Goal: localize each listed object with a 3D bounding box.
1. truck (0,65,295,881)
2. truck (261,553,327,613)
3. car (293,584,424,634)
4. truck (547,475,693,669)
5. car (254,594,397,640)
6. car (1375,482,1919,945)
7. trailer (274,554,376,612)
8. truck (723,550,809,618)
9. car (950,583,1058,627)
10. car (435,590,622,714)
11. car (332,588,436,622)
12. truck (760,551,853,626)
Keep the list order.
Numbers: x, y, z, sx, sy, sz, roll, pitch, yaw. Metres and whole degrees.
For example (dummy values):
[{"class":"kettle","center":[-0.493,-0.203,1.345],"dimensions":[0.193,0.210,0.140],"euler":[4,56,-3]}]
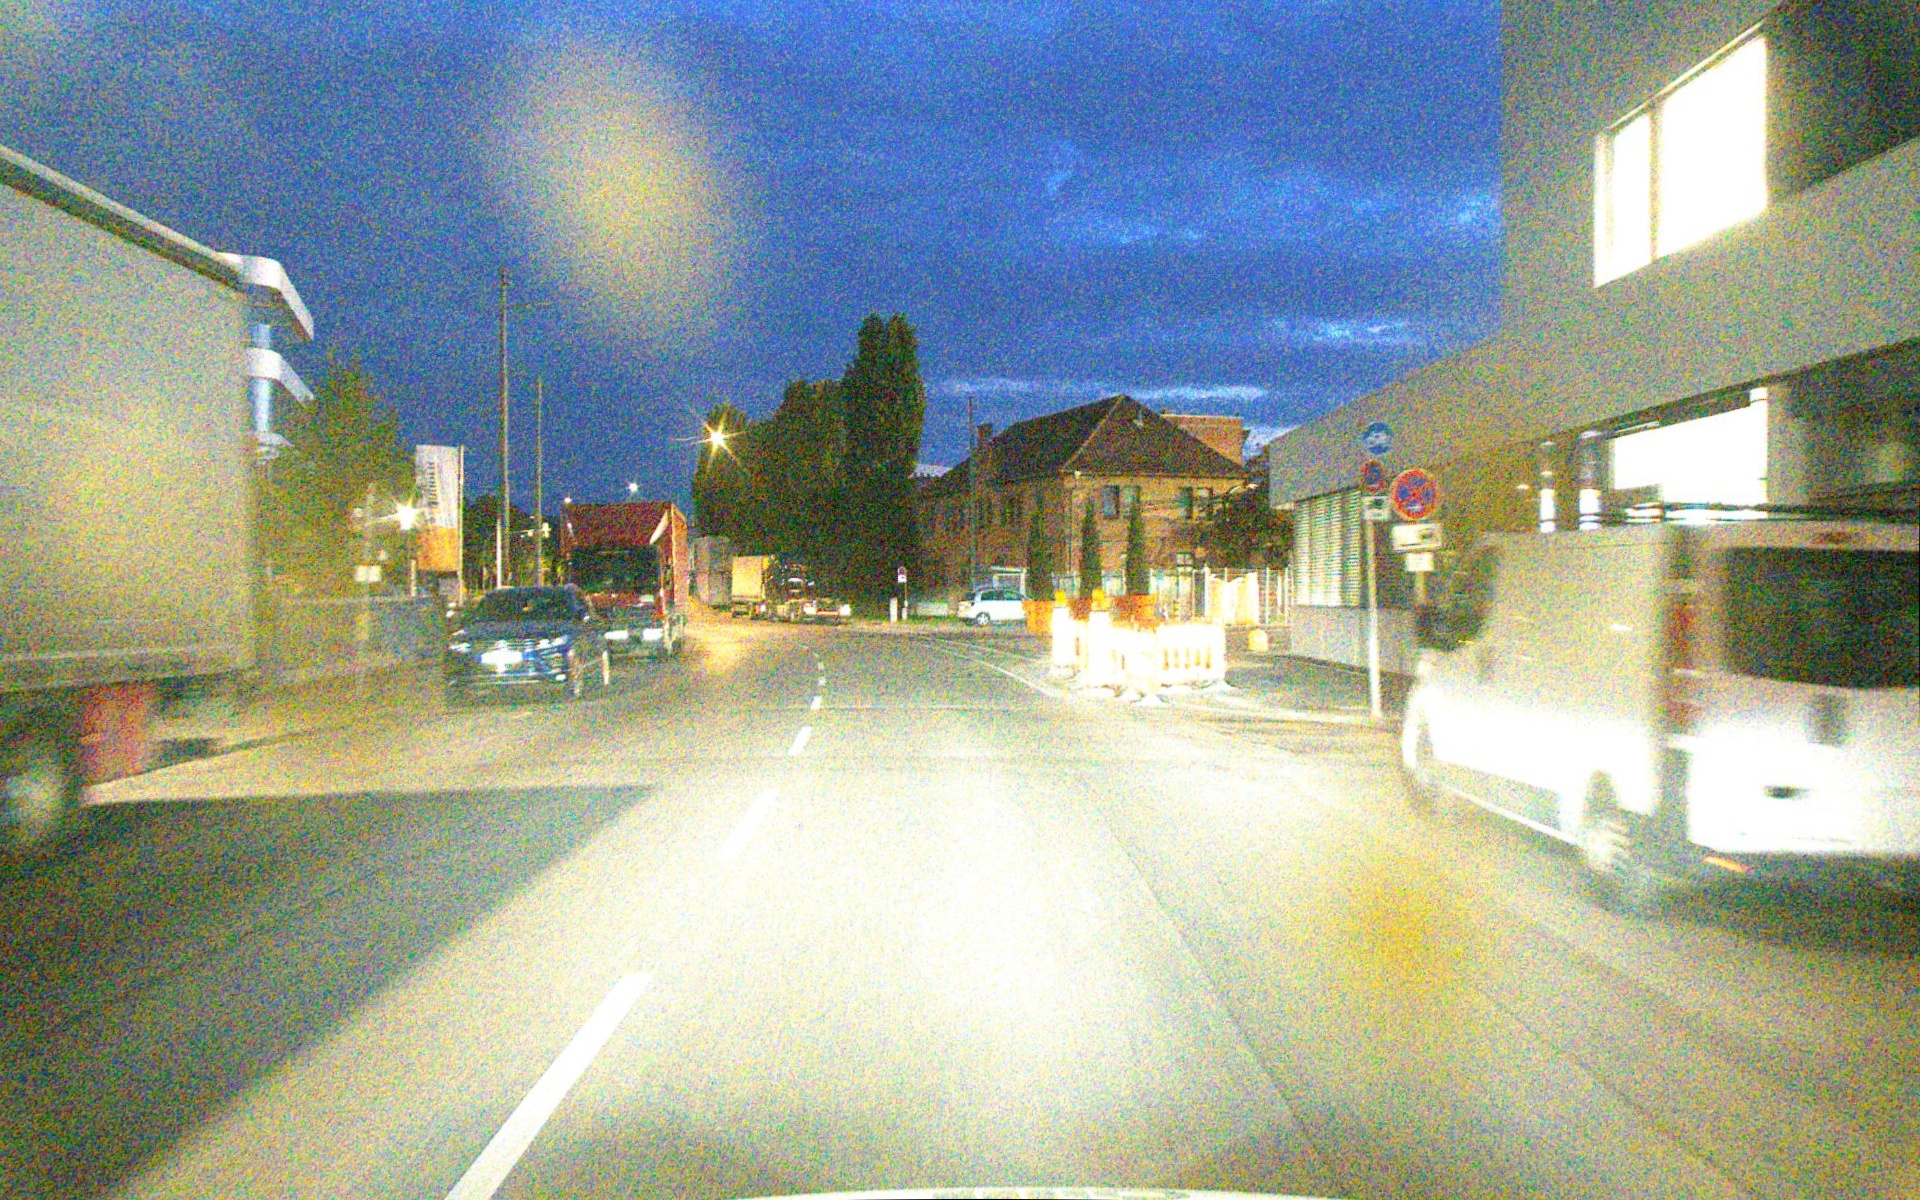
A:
[{"class":"truck","center":[-6.148,-0.633,7.468],"dimensions":[2.691,4.104,9.557],"euler":[0,0,-2]},{"class":"truck","center":[-46.145,-1.152,114.767],"dimensions":[2.999,4.001,4.498],"euler":[1,0,-6]},{"class":"car","center":[-22.767,0.307,62.765],"dimensions":[4.534,1.847,1.953],"euler":[0,0,-17]},{"class":"truck","center":[-8.145,-0.642,40.676],"dimensions":[2.720,4.192,9.327],"euler":[-1,0,-7]},{"class":"car","center":[-21.288,0.548,55.670],"dimensions":[4.334,1.508,1.883],"euler":[0,0,-17]},{"class":"car","center":[4.100,0.484,9.859],"dimensions":[1.953,2.049,4.911],"euler":[-1,0,-1]},{"class":"trailer","center":[-46.843,-1.193,122.596],"dimensions":[2.998,4.001,14.986],"euler":[1,0,-5]},{"class":"truck","center":[-11.697,-0.916,98.764],"dimensions":[2.716,3.849,10.161],"euler":[-1,0,-21]},{"class":"car","center":[1.918,0.185,72.247],"dimensions":[4.266,1.675,1.880],"euler":[-3,2,-22]},{"class":"car","center":[-6.655,0.721,26.077],"dimensions":[1.905,1.747,5.194],"euler":[-1,0,-4]},{"class":"car","center":[-26.038,0.212,74.932],"dimensions":[4.334,1.504,1.842],"euler":[0,0,-17]},{"class":"truck","center":[-8.356,-0.597,89.113],"dimensions":[2.715,3.849,9.081],"euler":[-1,0,-20]}]
